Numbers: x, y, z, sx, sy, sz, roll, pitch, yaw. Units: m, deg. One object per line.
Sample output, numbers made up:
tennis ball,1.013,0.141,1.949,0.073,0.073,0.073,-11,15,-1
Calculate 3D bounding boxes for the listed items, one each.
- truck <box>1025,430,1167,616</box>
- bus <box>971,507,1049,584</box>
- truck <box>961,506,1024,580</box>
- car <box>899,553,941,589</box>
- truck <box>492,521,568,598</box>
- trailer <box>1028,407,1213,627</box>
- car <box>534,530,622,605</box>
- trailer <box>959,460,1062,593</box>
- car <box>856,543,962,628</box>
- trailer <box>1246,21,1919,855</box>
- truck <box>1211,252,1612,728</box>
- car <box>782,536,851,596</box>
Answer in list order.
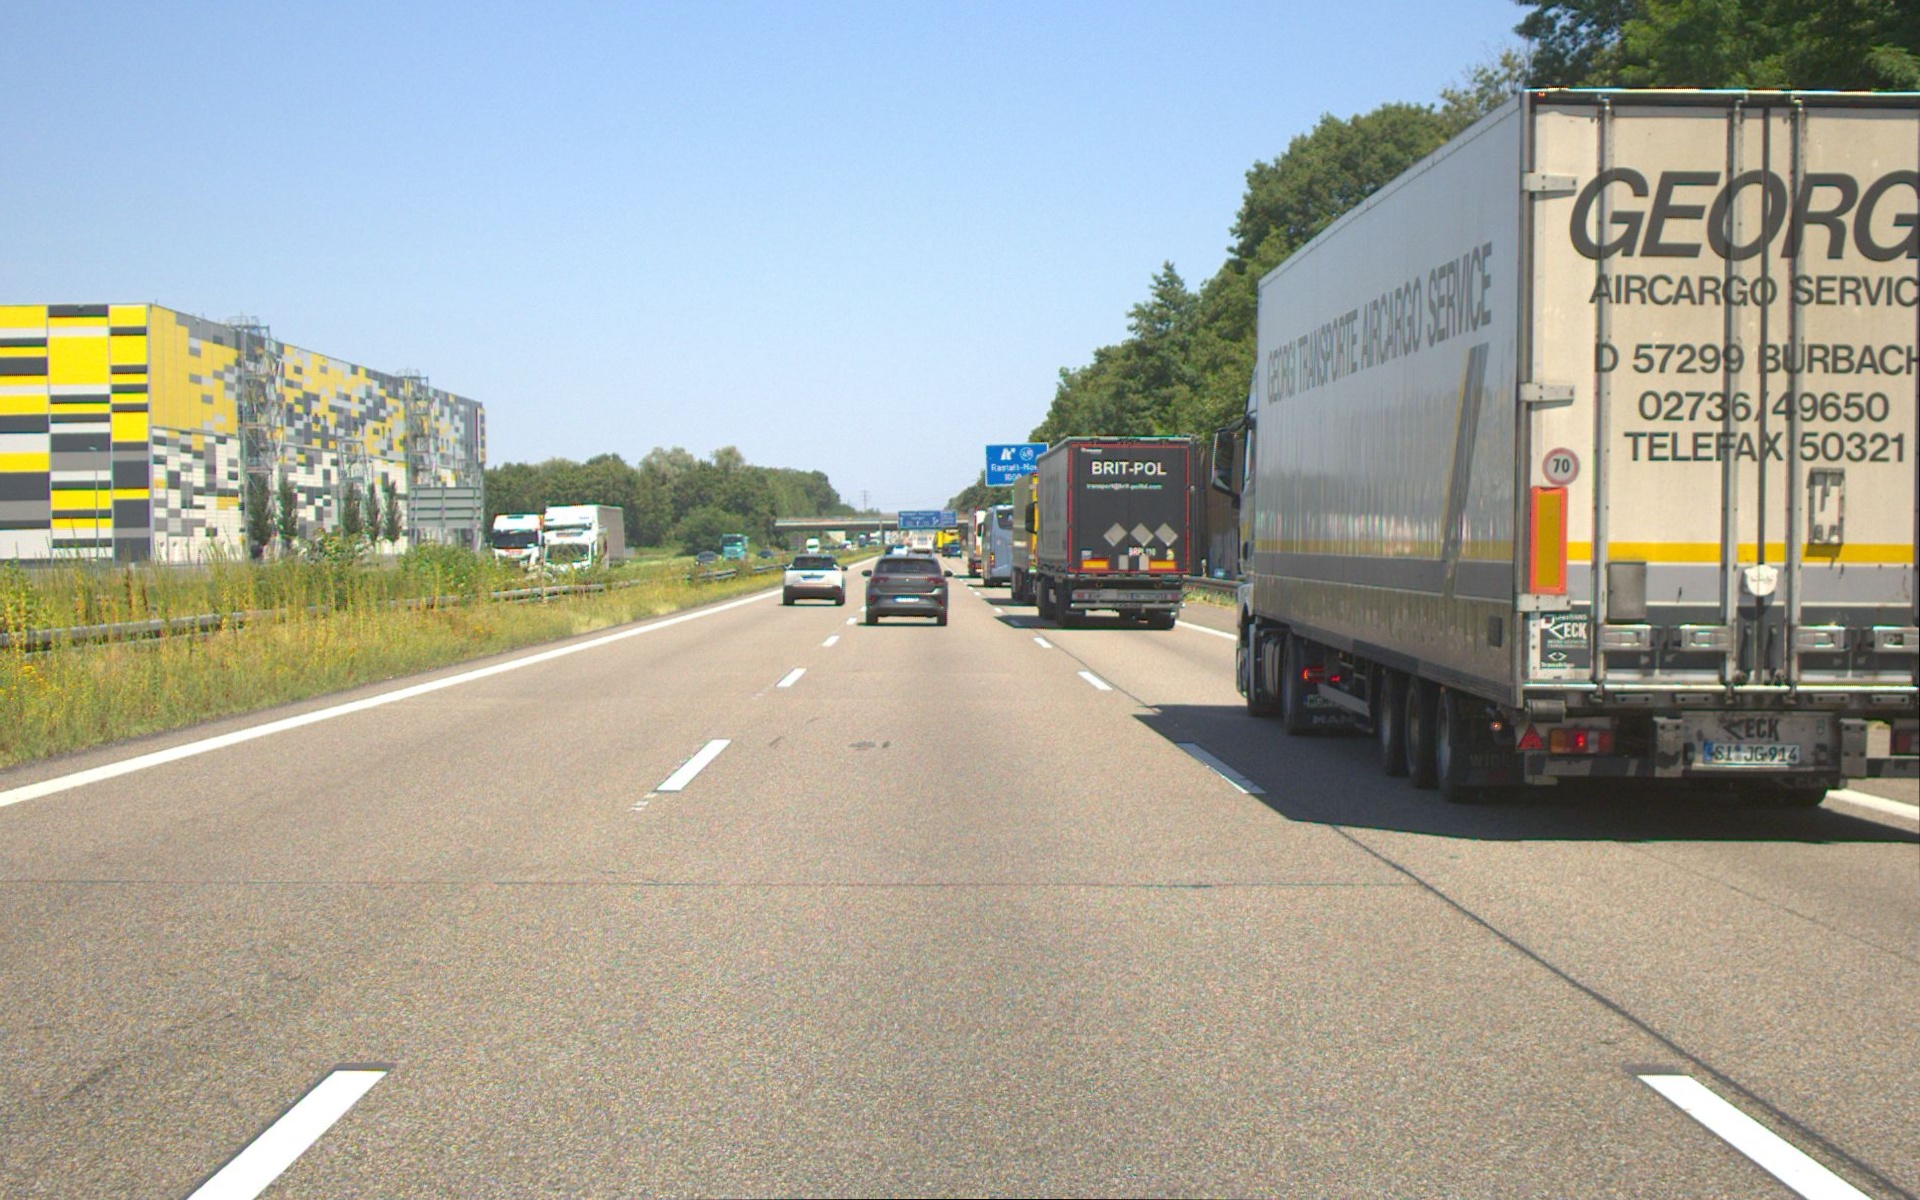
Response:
truck,3.311,-1.865,85.232,3.087,4.425,6.053,0,0,-2
bus,2.198,-2.464,154.615,3.062,3.315,8.275,-1,1,-2
truck,1.842,-3.298,198.500,3.422,4.112,9.564,-1,1,0
car,-1.875,-1.377,161.732,1.941,1.700,4.000,0,1,-1
truck,-23.030,-2.168,184.486,2.648,3.871,10.828,-3,1,-1
trailer,3.449,-1.796,78.002,3.106,4.491,14.897,1,1,-1
car,-15.859,-1.371,143.217,2.547,2.972,8.084,-1,1,1
trailer,1.506,-2.296,108.310,2.834,3.940,11.685,0,1,-1
car,-1.127,-0.356,75.742,2.216,1.784,5.394,-1,1,-1
trailer,4.220,-0.921,24.460,2.993,4.274,13.419,1,1,-1
truck,4.107,-0.980,32.433,3.002,4.110,5.253,0,0,-1
car,-4.250,-1.023,102.346,1.993,1.722,4.131,0,1,-2
